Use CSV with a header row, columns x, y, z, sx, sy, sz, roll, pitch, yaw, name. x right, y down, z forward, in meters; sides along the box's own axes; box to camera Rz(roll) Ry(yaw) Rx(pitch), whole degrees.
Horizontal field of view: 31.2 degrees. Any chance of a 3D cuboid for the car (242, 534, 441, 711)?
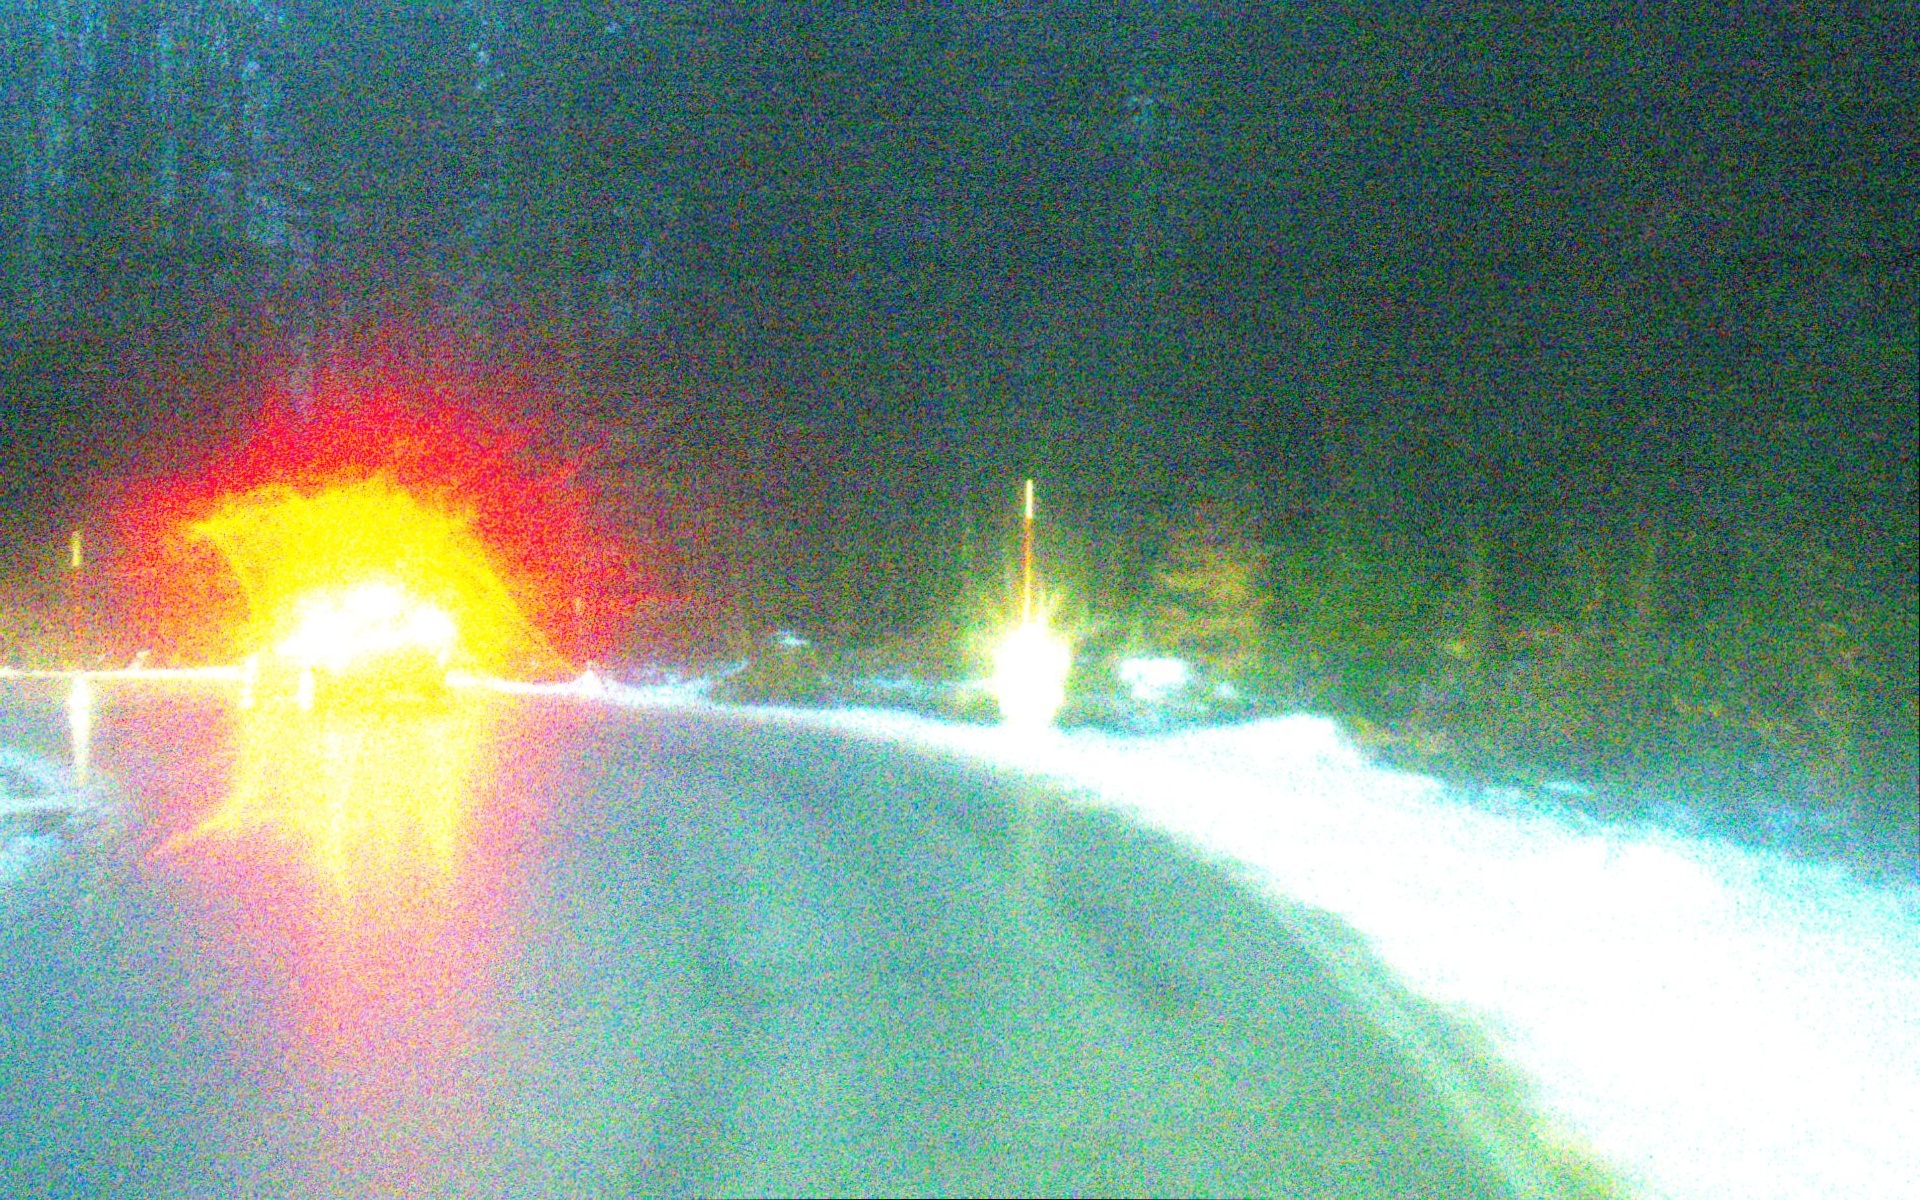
x,y,z,sx,sy,sz,roll,pitch,yaw,name
-7.598,0.255,41.957,1.993,2.045,4.001,0,0,-16,car
